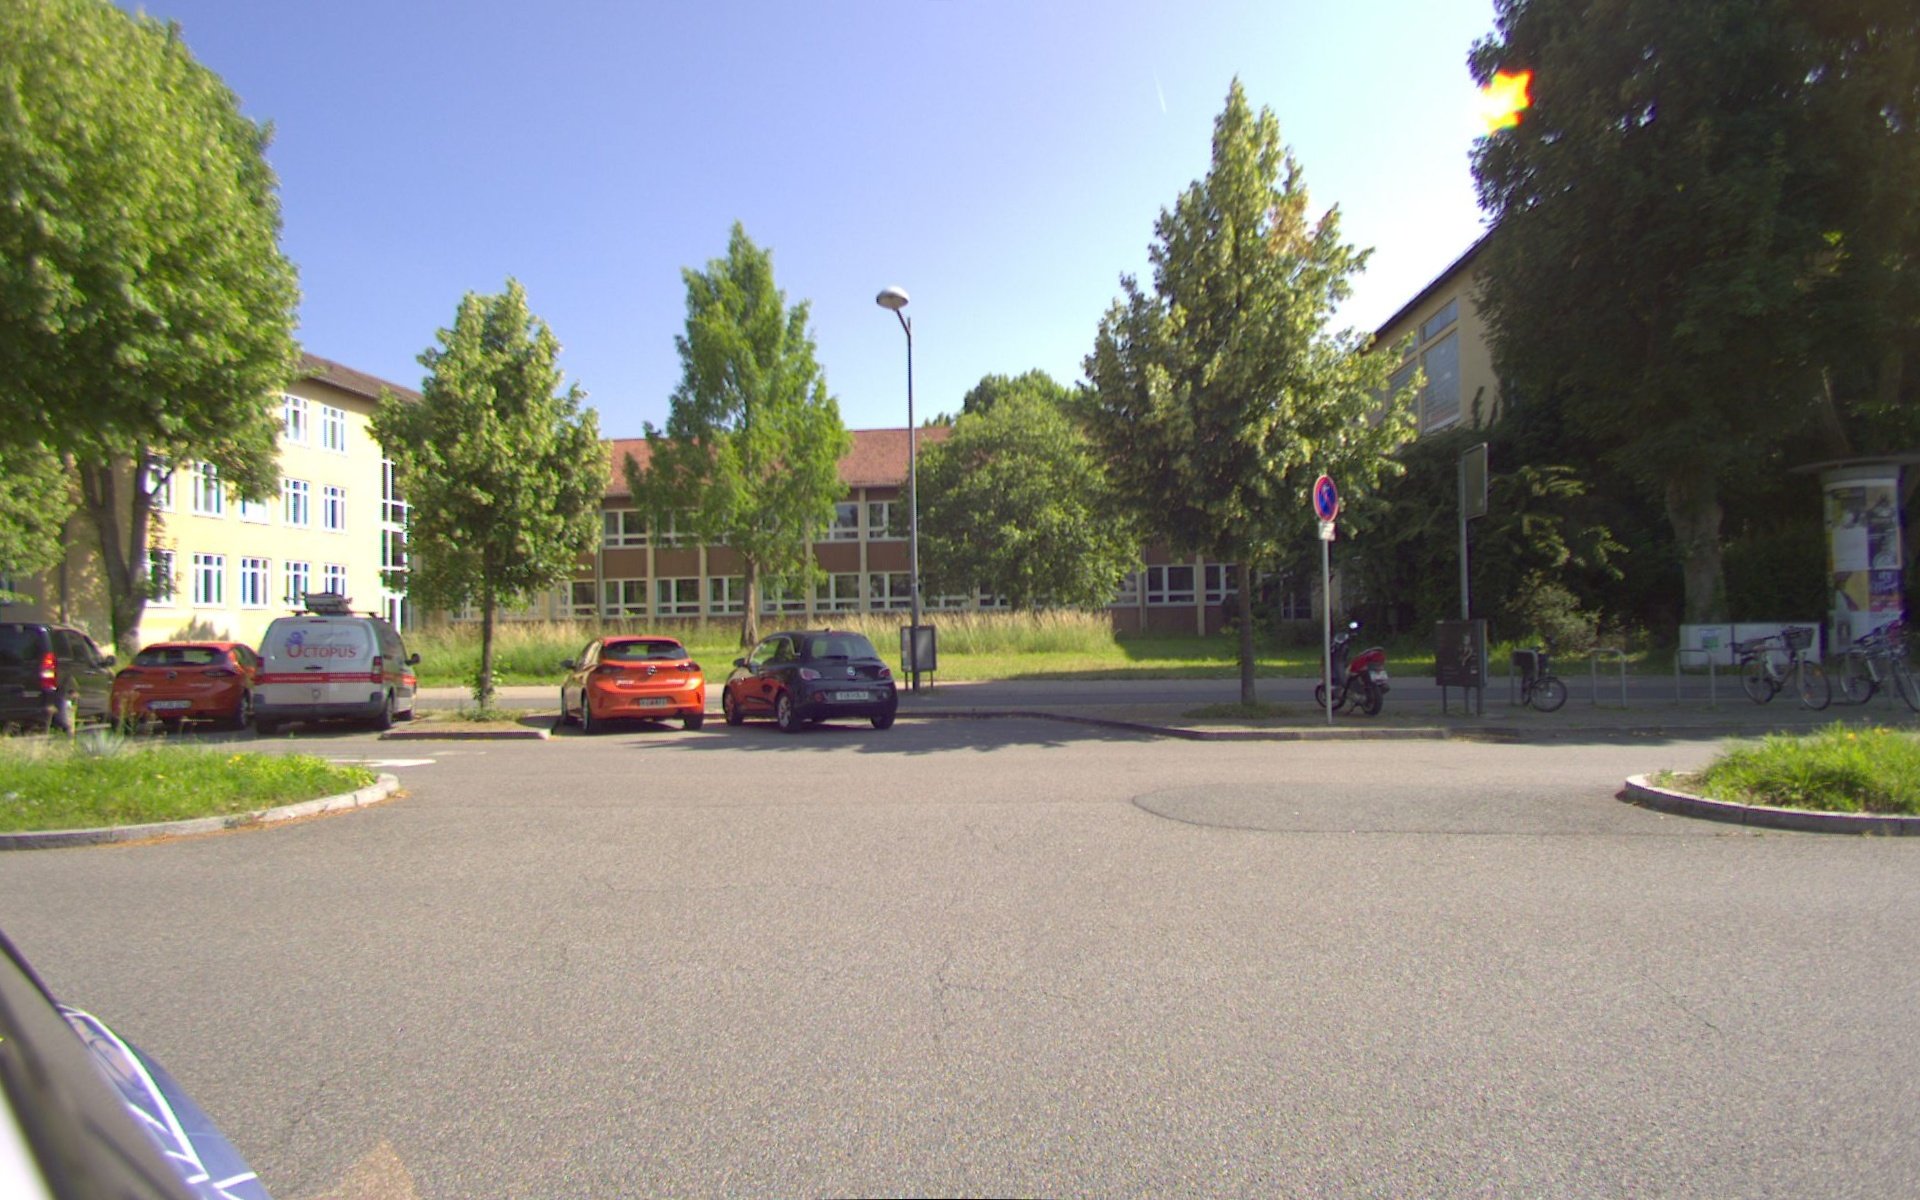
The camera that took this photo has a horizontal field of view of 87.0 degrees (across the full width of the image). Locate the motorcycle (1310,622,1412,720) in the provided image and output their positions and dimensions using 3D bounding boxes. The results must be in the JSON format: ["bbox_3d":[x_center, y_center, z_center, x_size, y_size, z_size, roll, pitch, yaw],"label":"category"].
[{"bbox_3d":[5.652,0.966,14.393,0.683,1.294,1.851,-1,-2,0],"label":"motorcycle"}]

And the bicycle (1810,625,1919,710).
[{"bbox_3d":[13.198,0.931,14.467,0.685,1.131,1.846,-1,-2,8],"label":"bicycle"}]

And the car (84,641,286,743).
[{"bbox_3d":[-12.758,1.458,16.929,1.823,1.438,3.786,-1,-2,-24],"label":"car"}]

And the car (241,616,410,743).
[{"bbox_3d":[-10.134,1.189,16.456,1.787,1.785,3.787,0,-2,-24],"label":"car"}]

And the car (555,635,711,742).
[{"bbox_3d":[-5.266,1.284,15.972,1.686,1.434,3.854,0,-2,-28],"label":"car"}]

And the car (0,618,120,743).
[{"bbox_3d":[-15.407,1.289,16.482,1.970,1.830,4.201,0,-3,-30],"label":"car"}]

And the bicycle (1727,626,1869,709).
[{"bbox_3d":[12.113,0.944,14.717,0.685,1.115,1.846,-1,-2,8],"label":"bicycle"}]

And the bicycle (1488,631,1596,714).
[{"bbox_3d":[8.399,1.020,14.702,0.685,1.100,1.846,-1,-2,8],"label":"bicycle"}]

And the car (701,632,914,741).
[{"bbox_3d":[-2.443,1.246,15.457,1.824,1.434,3.784,1,-4,-33],"label":"car"}]
